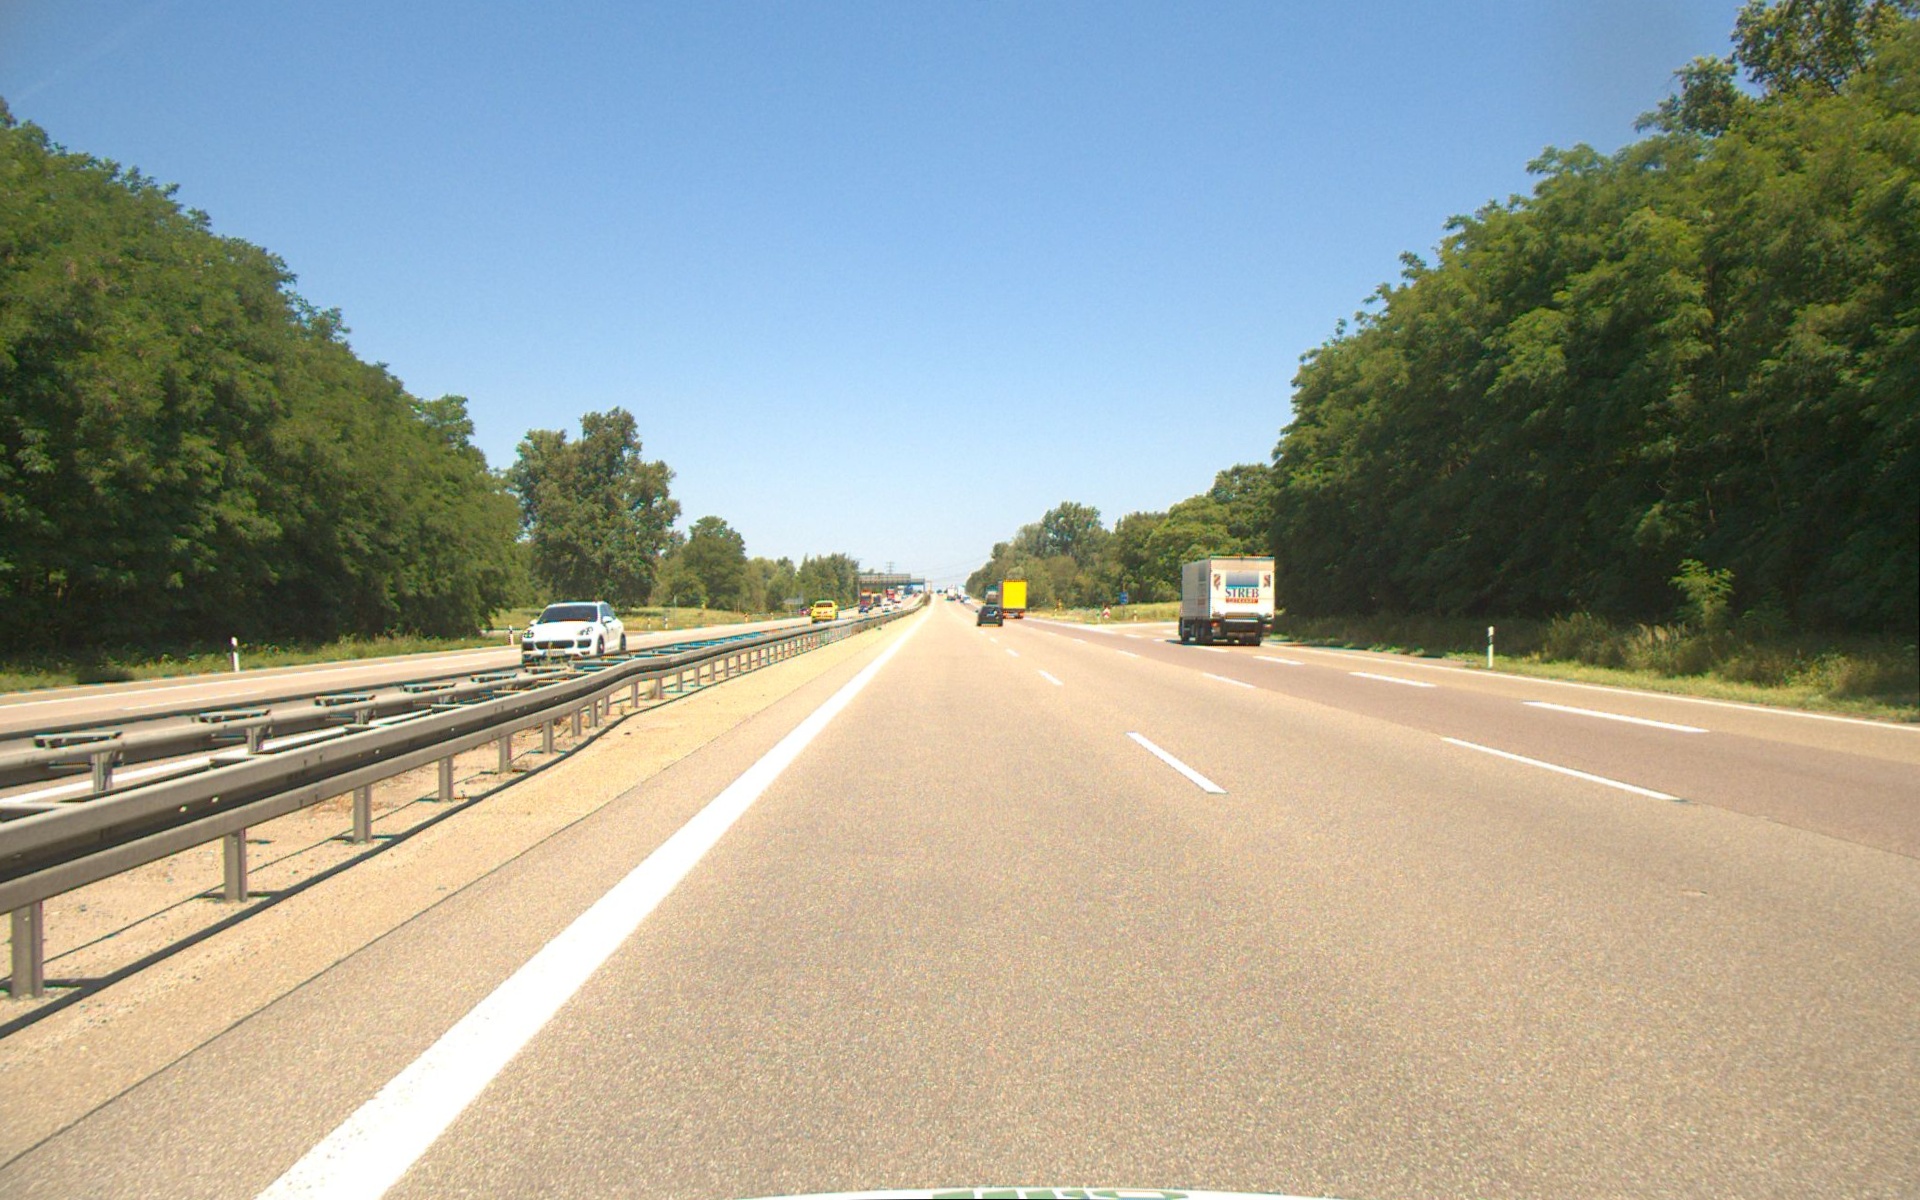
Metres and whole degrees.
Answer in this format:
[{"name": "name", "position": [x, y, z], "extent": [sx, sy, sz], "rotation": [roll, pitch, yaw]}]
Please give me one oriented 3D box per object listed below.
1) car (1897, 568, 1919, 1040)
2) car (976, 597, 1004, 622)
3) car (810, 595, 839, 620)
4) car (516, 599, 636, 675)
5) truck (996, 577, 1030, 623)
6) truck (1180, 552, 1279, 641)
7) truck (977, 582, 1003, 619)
[{"name": "car", "position": [4.263, 0.703, 3.489], "extent": [1.790, 1.636, 4.807], "rotation": [0, 0, -1]}, {"name": "car", "position": [2.102, 0.653, 115.779], "extent": [1.790, 1.736, 3.999], "rotation": [1, 0, -1]}, {"name": "car", "position": [-10.918, 0.595, 133.461], "extent": [1.953, 1.998, 5.210], "rotation": [1, 0, -1]}, {"name": "car", "position": [-9.872, 0.897, 42.923], "extent": [1.953, 1.736, 5.264], "rotation": [1, 1, -1]}, {"name": "truck", "position": [5.965, 0.023, 188.628], "extent": [3.308, 4.966, 15.085], "rotation": [1, 0, 0]}, {"name": "truck", "position": [11.087, -0.107, 69.038], "extent": [2.965, 3.377, 10.775], "rotation": [1, 0, 3]}, {"name": "truck", "position": [4.179, 0.091, 234.139], "extent": [3.298, 4.966, 15.085], "rotation": [1, 0, 0]}]
